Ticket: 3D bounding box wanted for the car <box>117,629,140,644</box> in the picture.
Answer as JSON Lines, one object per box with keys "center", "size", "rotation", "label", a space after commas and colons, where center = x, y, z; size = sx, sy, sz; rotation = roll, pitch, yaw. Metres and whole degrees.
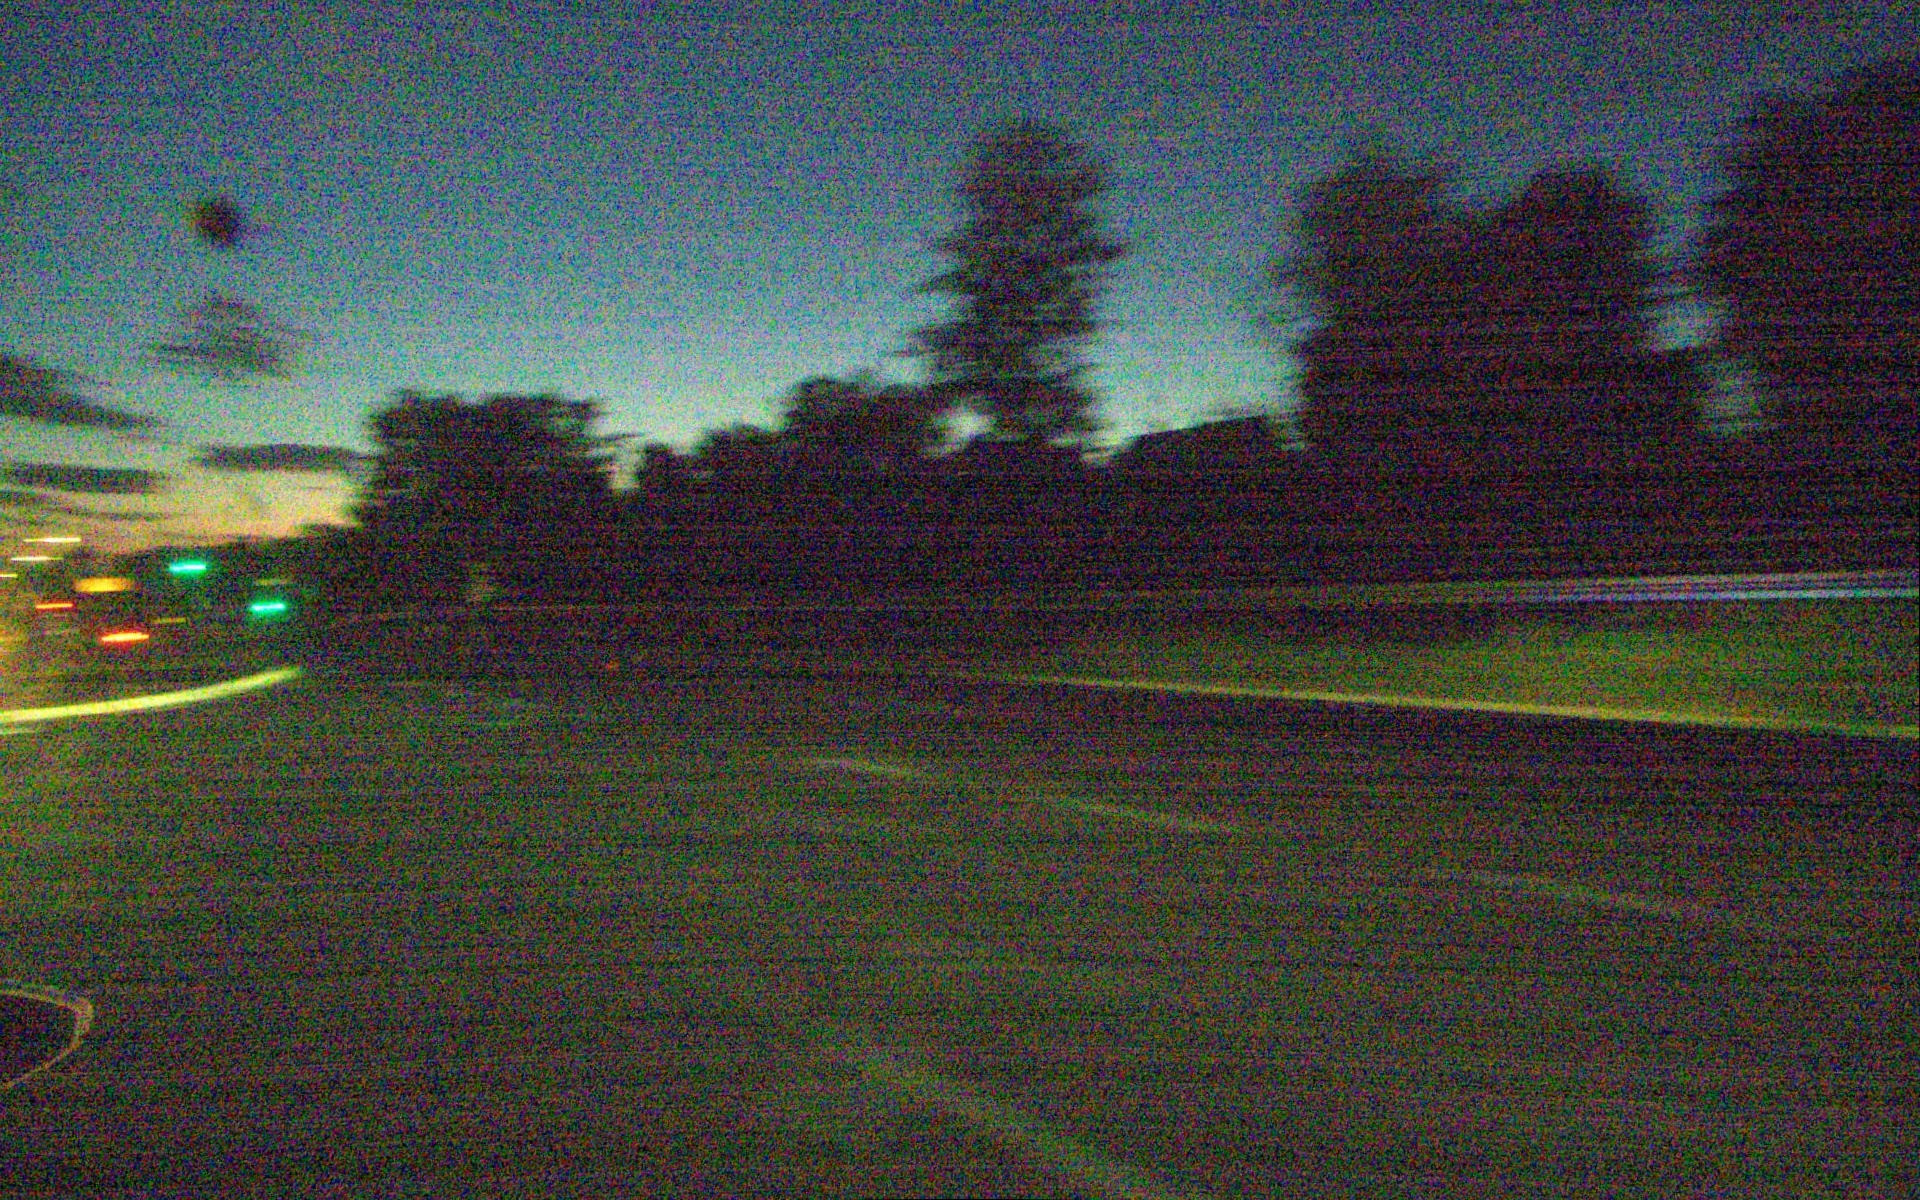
{"center": [-101.860, 4.443, 122.664], "size": [1.921, 1.668, 3.961], "rotation": [-3, 2, -43], "label": "car"}
